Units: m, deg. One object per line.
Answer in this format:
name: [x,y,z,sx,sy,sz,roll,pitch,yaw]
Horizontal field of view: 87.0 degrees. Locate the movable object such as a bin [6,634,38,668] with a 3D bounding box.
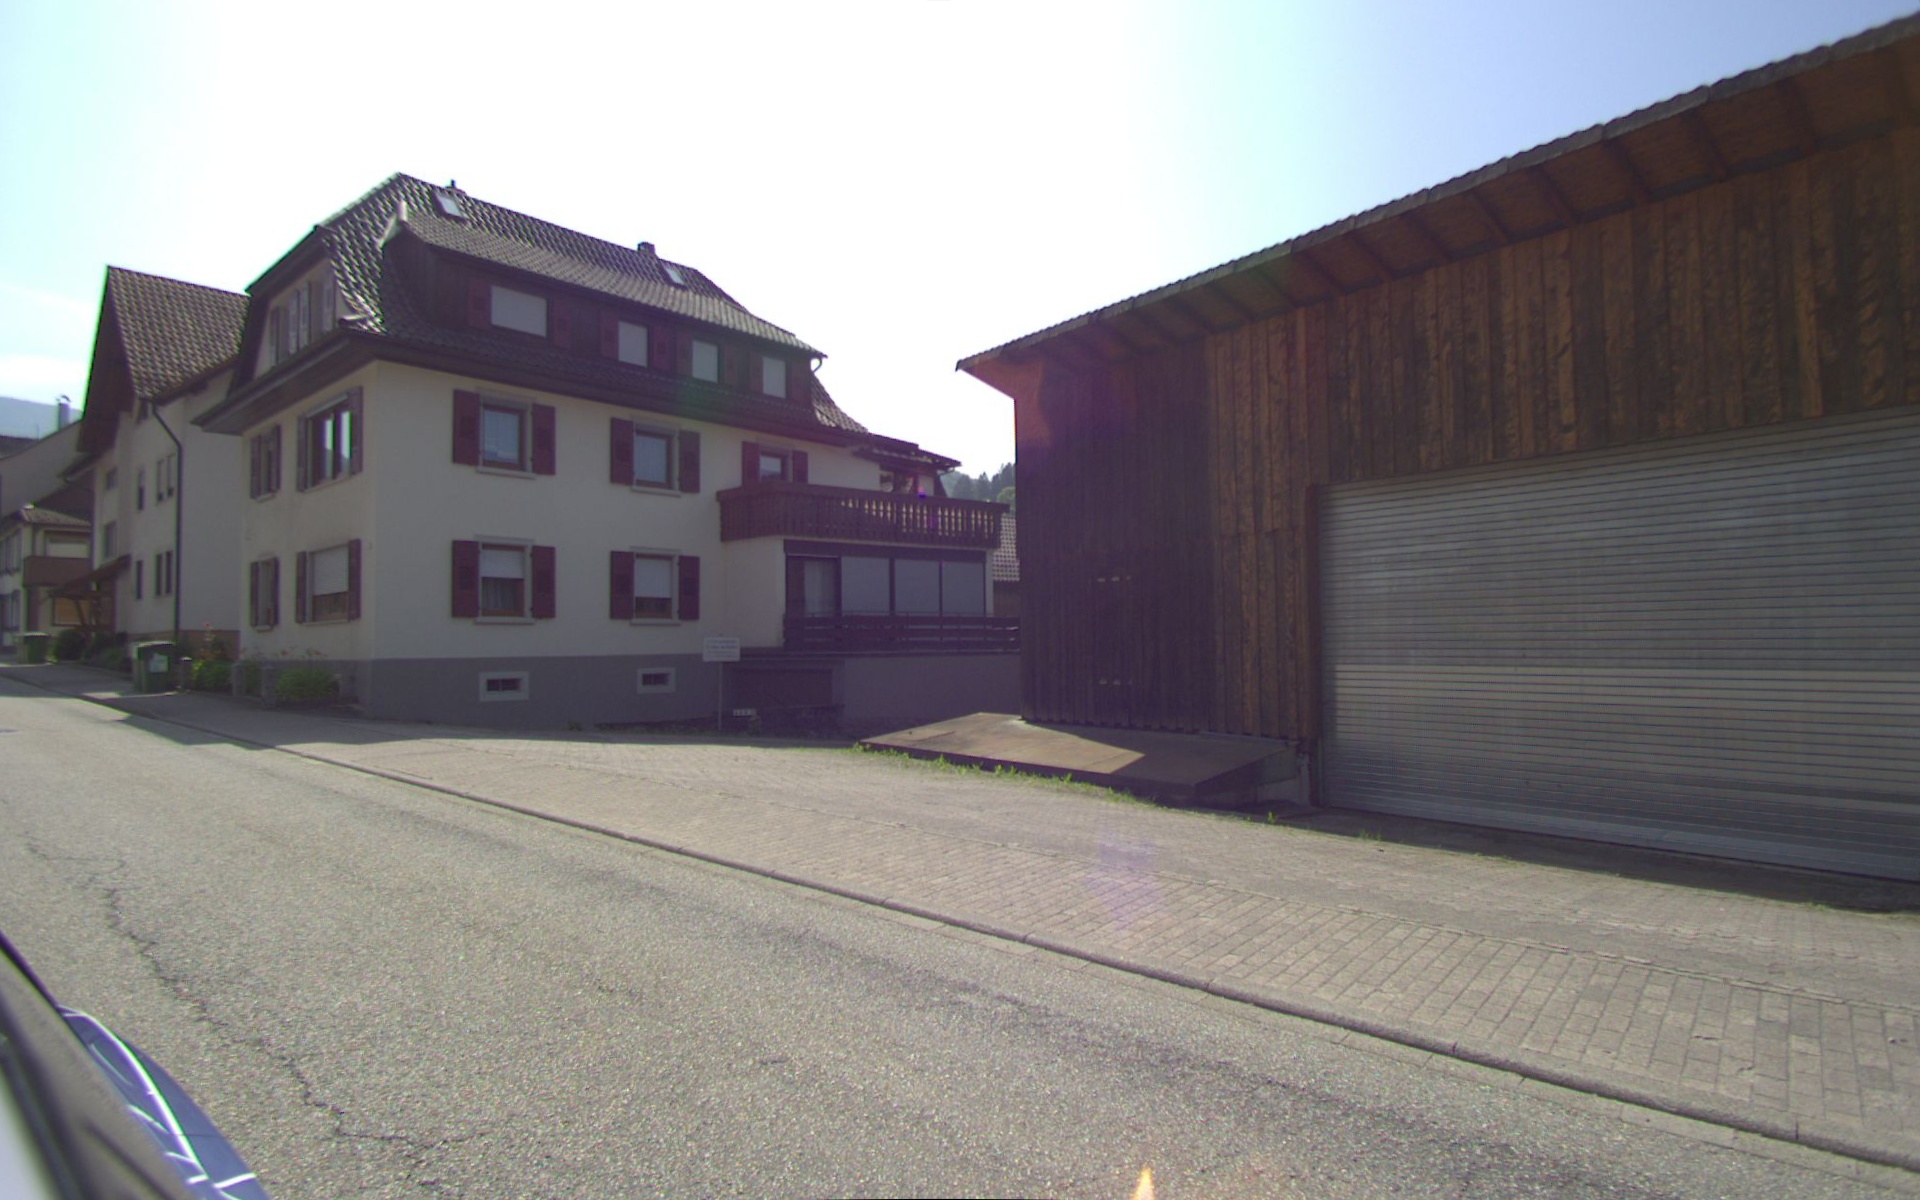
movable object such as a bin: [-33.350,1.801,35.980,0.597,1.190,0.710,-2,-4,41]

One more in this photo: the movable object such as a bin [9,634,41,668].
movable object such as a bin: [-32.847,1.795,35.567,0.597,1.190,0.710,-2,-4,41]

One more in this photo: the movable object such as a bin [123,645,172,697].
movable object such as a bin: [-17.375,1.516,21.639,0.621,1.075,0.669,-1,-3,39]

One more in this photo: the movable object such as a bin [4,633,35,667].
movable object such as a bin: [-33.842,1.807,36.419,0.597,1.190,0.710,-2,-4,41]

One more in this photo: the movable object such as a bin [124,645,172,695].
movable object such as a bin: [-17.941,1.535,22.365,0.653,1.075,0.669,-1,-3,39]

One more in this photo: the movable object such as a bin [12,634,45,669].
movable object such as a bin: [-32.348,1.789,35.139,0.597,1.190,0.710,-2,-4,41]
